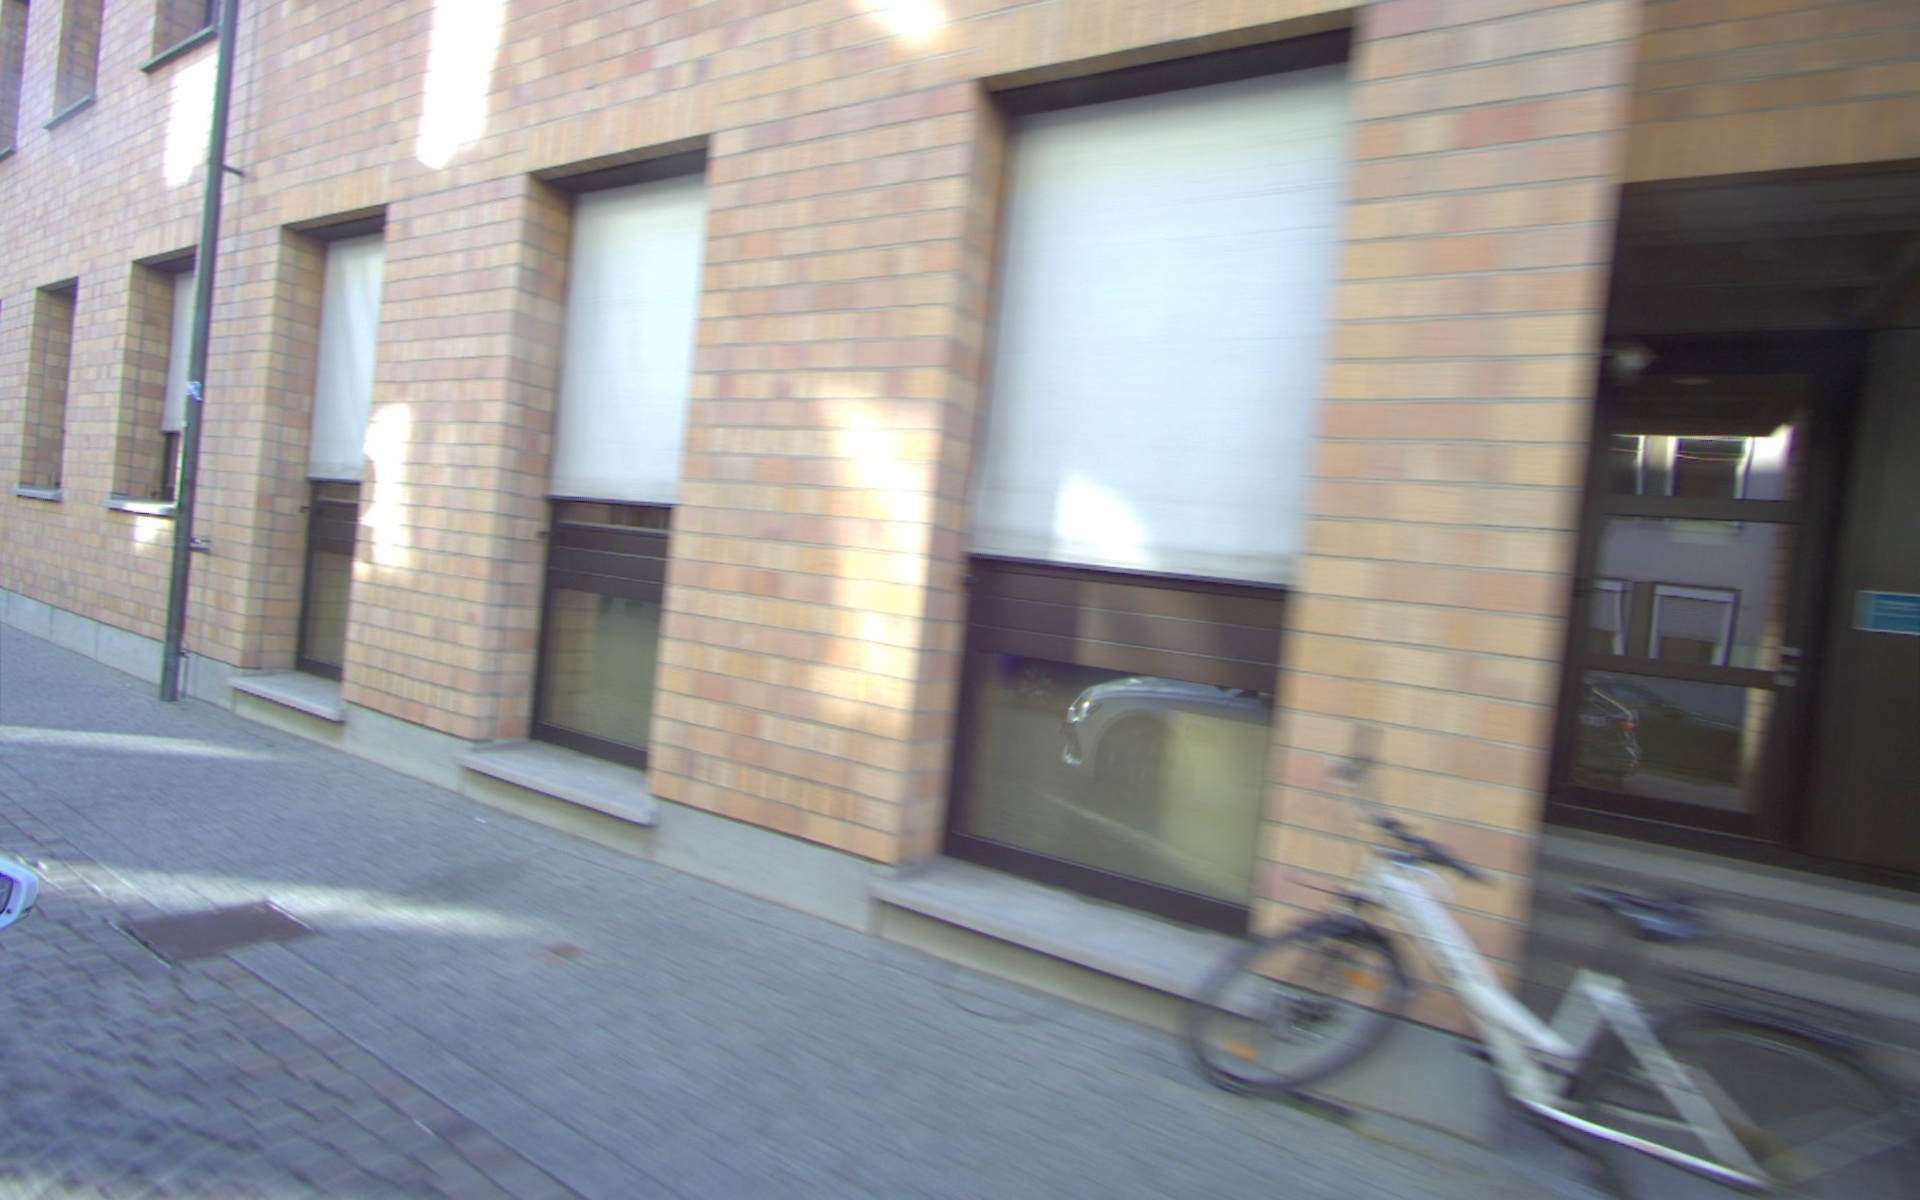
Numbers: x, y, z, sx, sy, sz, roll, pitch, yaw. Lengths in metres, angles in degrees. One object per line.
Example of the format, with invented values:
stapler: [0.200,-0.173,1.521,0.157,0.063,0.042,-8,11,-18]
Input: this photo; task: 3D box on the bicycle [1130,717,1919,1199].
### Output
bicycle: [1.489,1.029,2.478,1.948,1.119,0.549,7,5,29]
